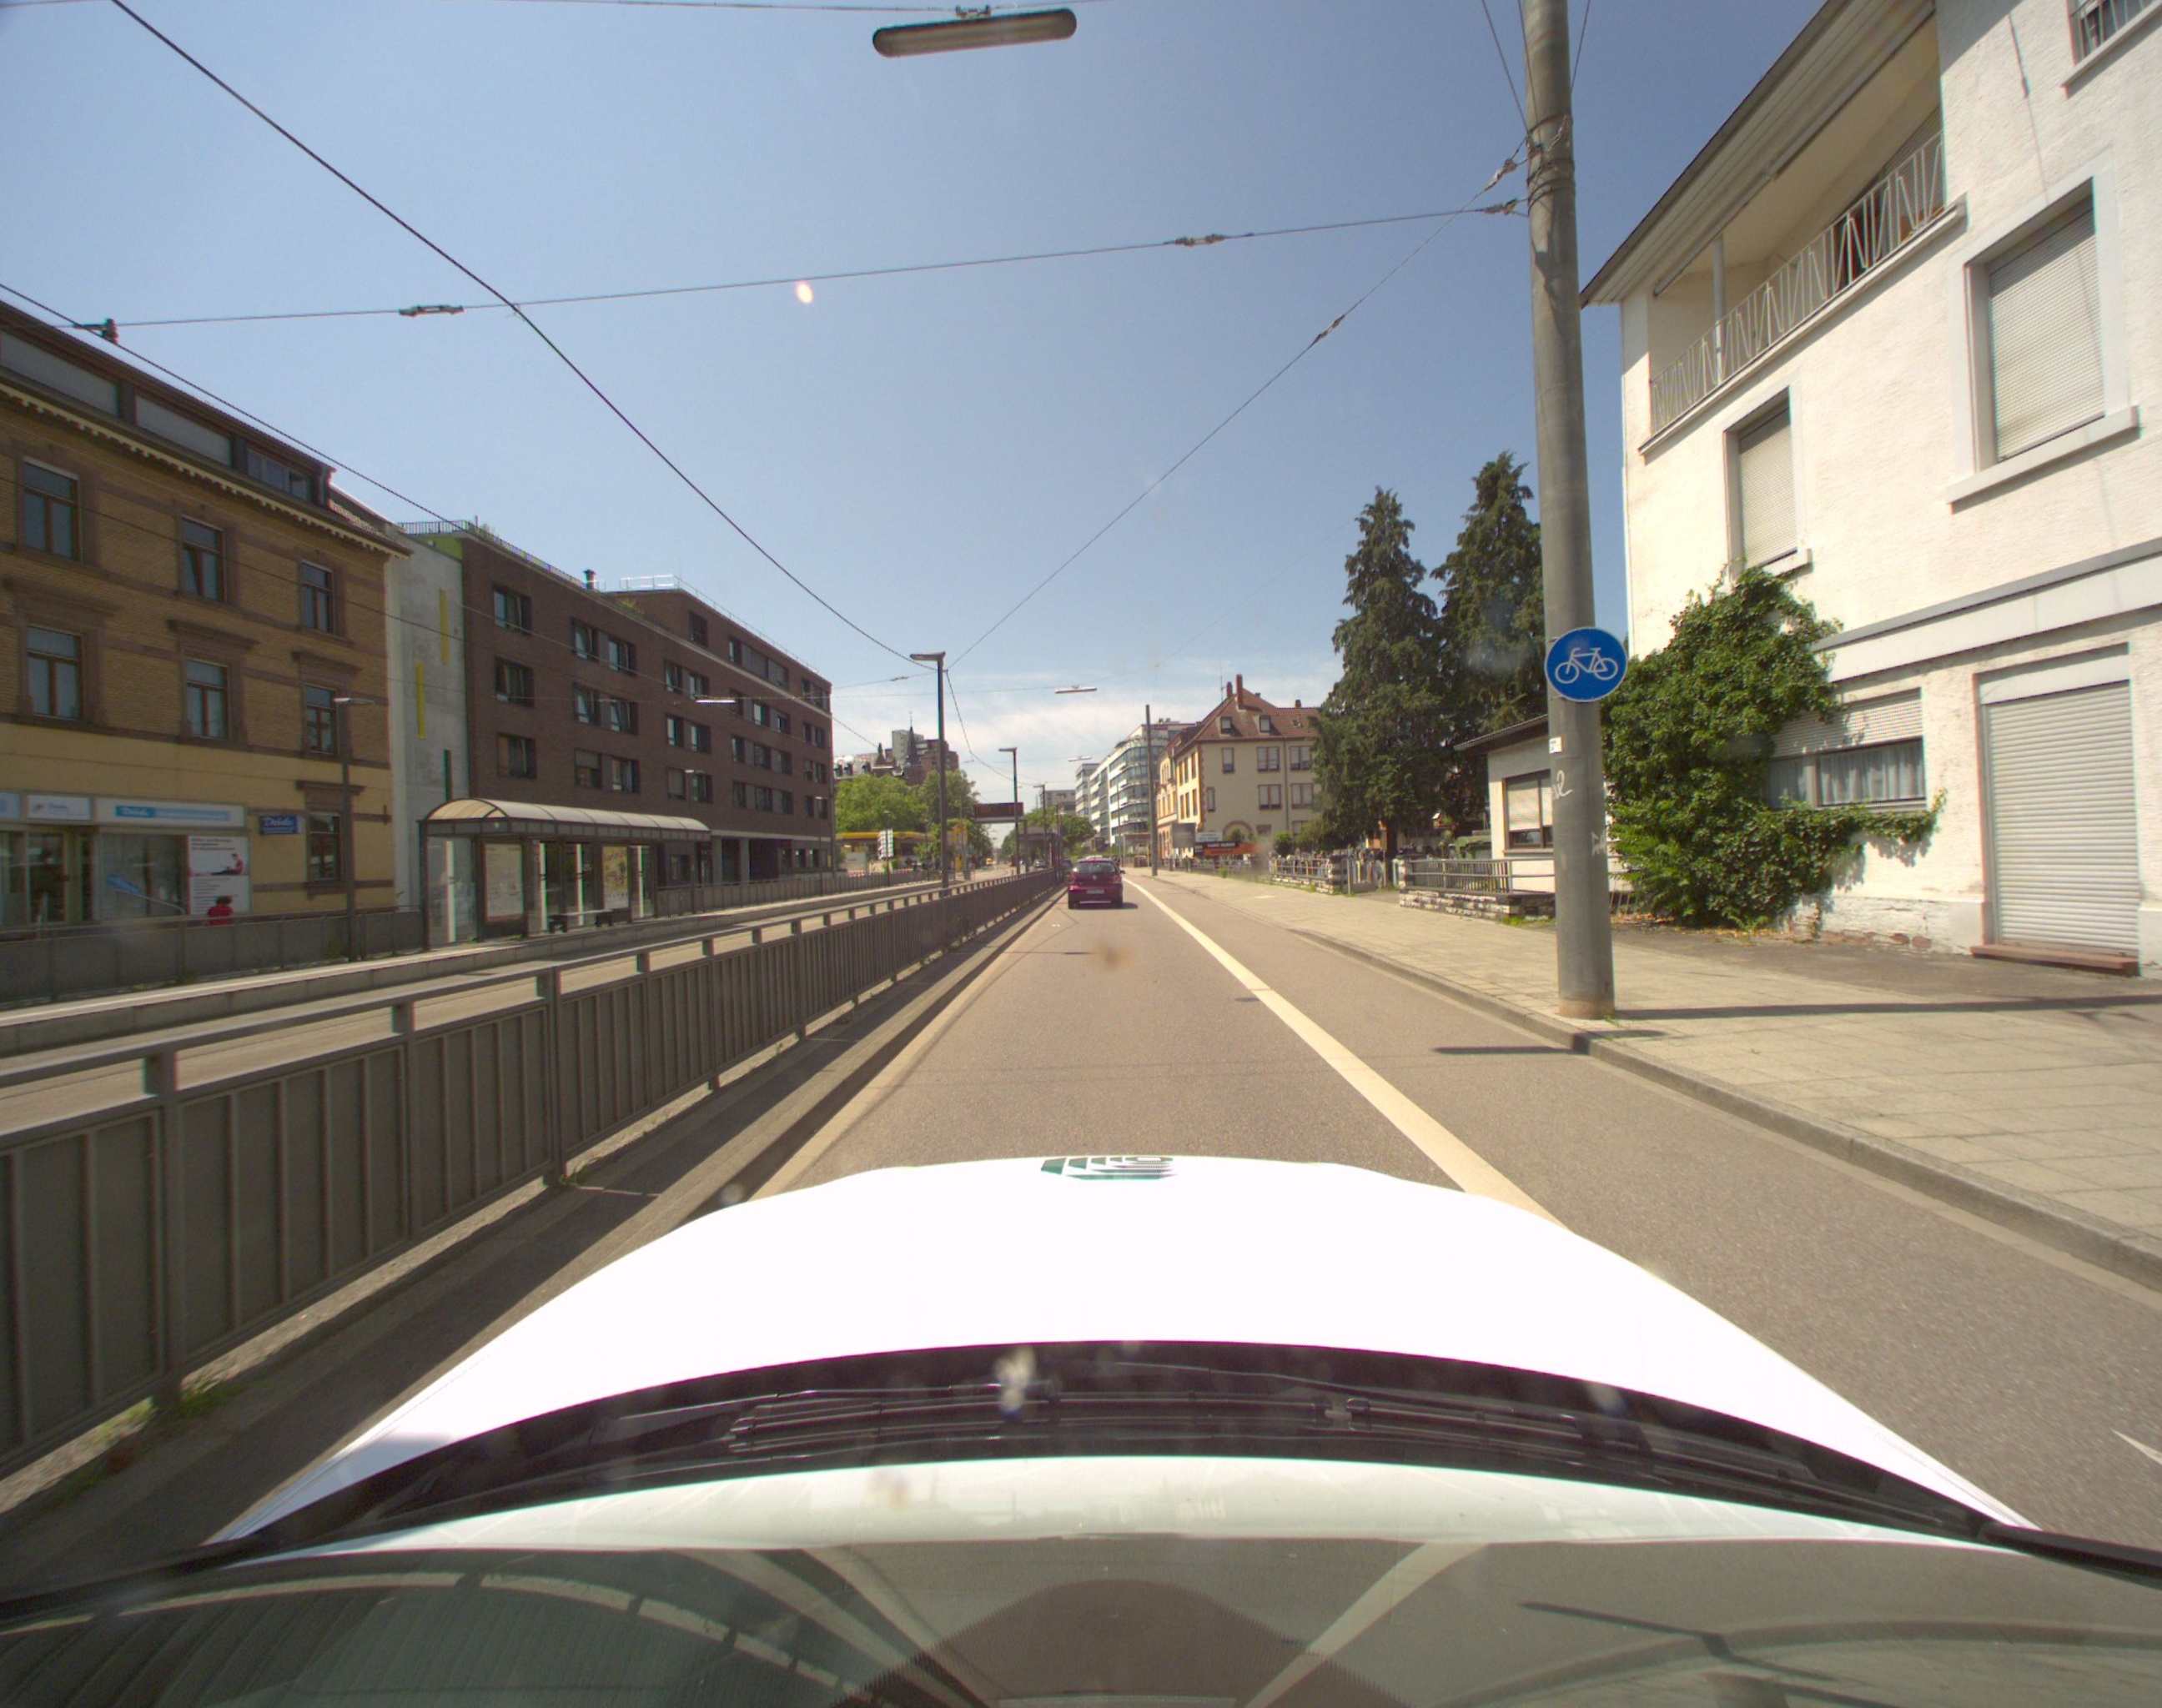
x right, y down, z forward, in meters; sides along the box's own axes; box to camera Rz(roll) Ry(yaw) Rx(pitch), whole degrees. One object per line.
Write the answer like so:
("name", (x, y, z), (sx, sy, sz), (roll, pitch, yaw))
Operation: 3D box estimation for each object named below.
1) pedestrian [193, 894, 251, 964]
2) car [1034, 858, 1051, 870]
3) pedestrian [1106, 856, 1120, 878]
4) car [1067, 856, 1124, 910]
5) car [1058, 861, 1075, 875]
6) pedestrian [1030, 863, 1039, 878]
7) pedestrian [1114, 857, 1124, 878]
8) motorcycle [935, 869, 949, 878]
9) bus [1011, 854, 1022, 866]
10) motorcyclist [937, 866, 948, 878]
("pedestrian", (-20.026, 1.738, 18.997), (0.612, 1.560, 0.640), (-2, -1, 1))
("car", (-6.281, 1.705, 132.476), (1.996, 1.849, 3.981), (-2, 0, -14))
("pedestrian", (2.852, 1.138, 72.083), (1.165, 1.836, 0.791), (-2, -1, -1))
("car", (0.443, 0.845, 24.632), (1.555, 1.453, 3.062), (-2, -1, 1))
("car", (-1.807, 1.758, 103.299), (1.988, 1.624, 4.629), (-2, -1, -1))
("pedestrian", (-6.070, 2.161, 106.226), (1.105, 2.014, 1.039), (-2, -1, 2))
("pedestrian", (3.298, 1.171, 70.738), (0.742, 1.836, 0.791), (-2, -1, -1))
("motorcycle", (-13.720, 1.935, 80.513), (0.868, 0.806, 1.911), (-2, 0, 3))
("bus", (-17.457, 1.673, 220.362), (2.146, 3.003, 6.546), (-2, -1, -12))
("motorcyclist", (-13.717, 1.769, 80.571), (0.846, 1.139, 0.635), (-2, -1, 2))
